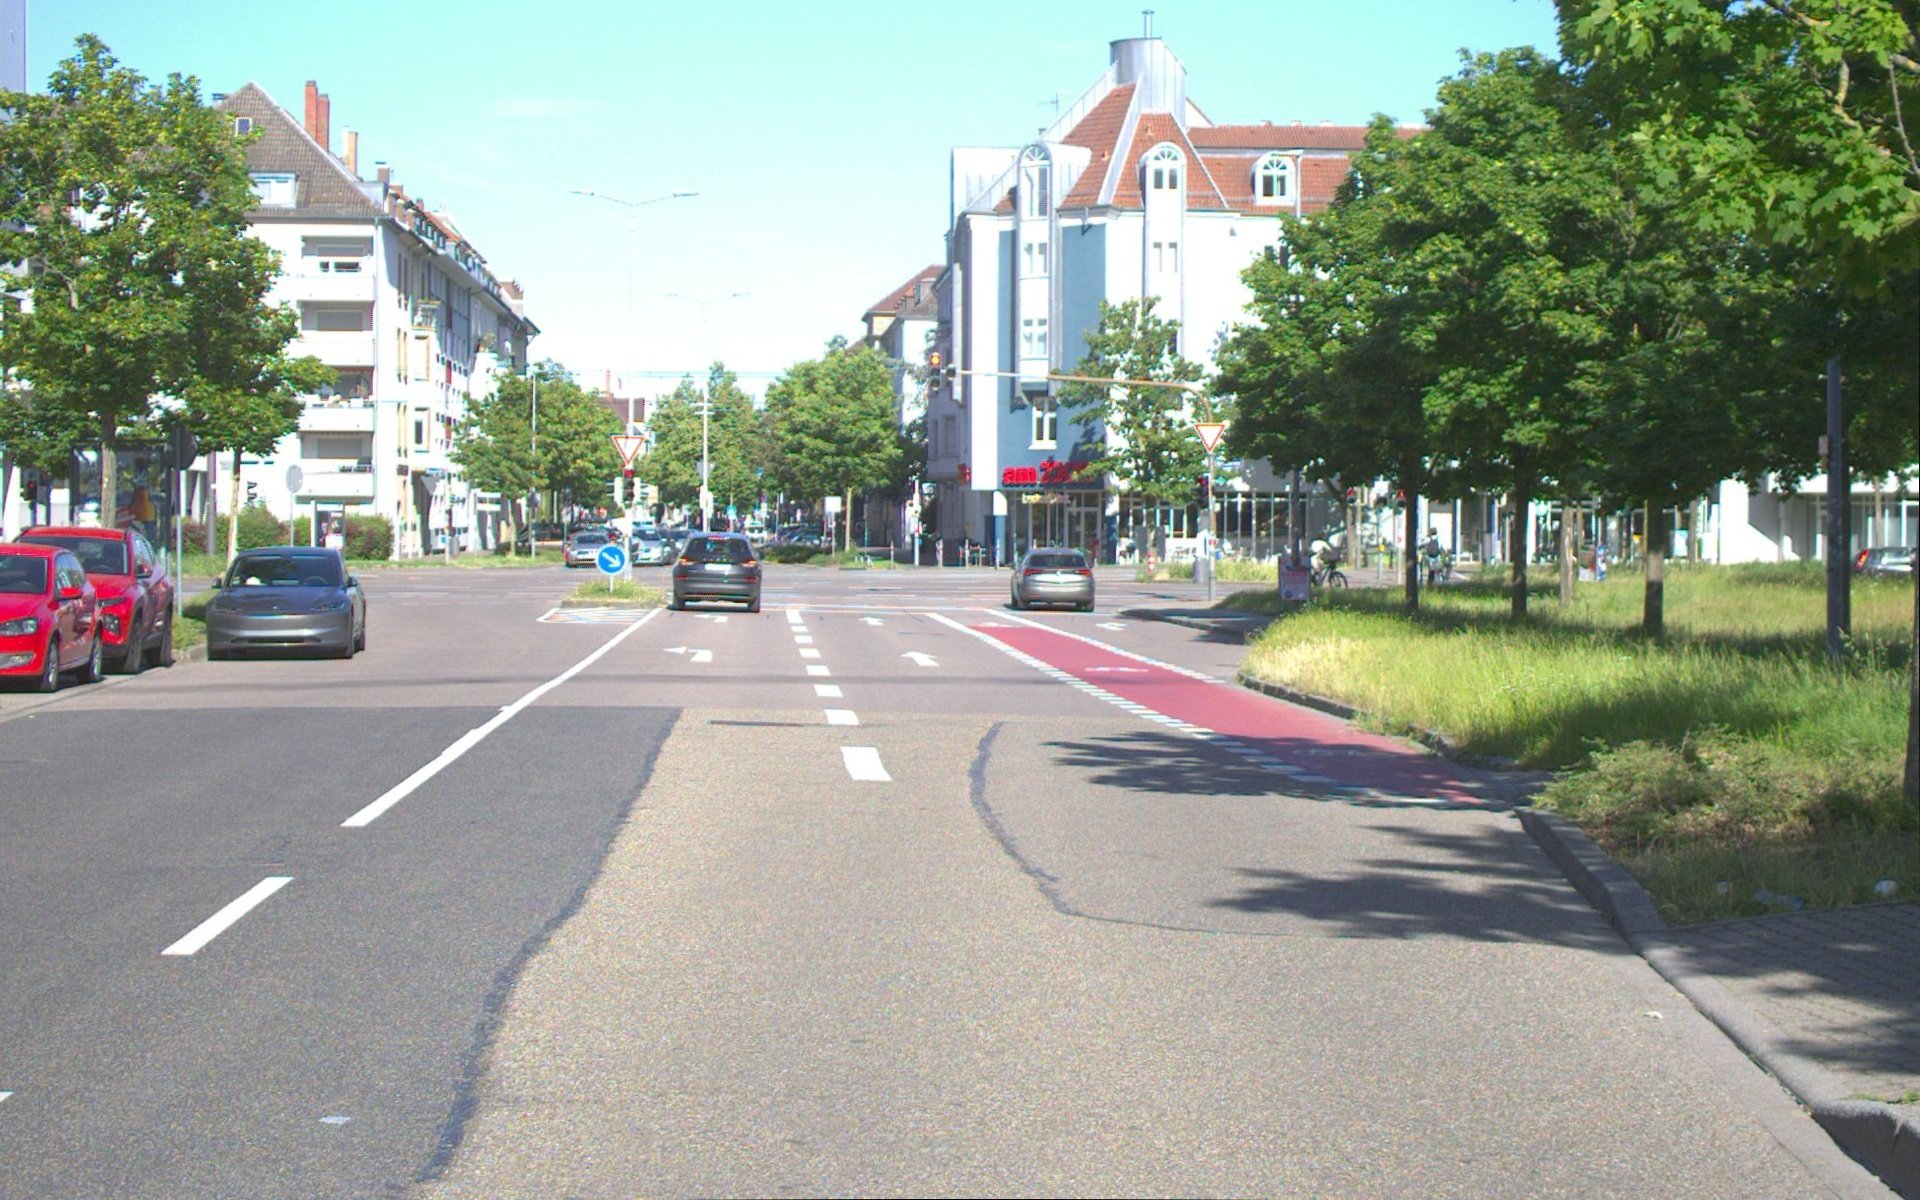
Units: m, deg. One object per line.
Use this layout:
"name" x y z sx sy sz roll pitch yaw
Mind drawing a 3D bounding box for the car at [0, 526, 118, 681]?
"car" -9.764 -0.019 34.798 1.688 1.427 3.872 3 1 -3

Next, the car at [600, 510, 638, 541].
"car" -18.351 -4.020 185.141 1.753 1.550 3.731 3 1 -2

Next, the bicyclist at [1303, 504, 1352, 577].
"bicyclist" 9.304 -1.512 86.940 0.792 1.818 1.133 1 2 34

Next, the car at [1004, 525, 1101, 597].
"car" 2.150 -0.935 80.783 1.688 1.572 3.872 2 1 -6

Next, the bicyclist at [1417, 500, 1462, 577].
"bicyclist" 12.297 -1.584 88.144 0.792 1.952 1.009 1 2 34

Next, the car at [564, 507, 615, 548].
"car" -15.169 -2.971 140.797 1.753 1.550 3.731 3 1 -2

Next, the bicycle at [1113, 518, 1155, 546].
"bicycle" 6.395 -2.500 126.599 1.511 1.023 0.473 0 2 7

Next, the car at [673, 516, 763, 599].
"car" -5.064 -0.919 72.180 1.753 1.622 4.479 2 1 -4

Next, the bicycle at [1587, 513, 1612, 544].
"bicycle" 24.709 -2.756 132.896 0.560 1.178 1.870 0 2 -2

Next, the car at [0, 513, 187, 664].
"car" -10.161 -0.179 40.046 1.688 1.601 4.312 2 1 -6

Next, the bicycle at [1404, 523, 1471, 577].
"bicycle" 12.242 -1.283 88.080 0.792 1.343 2.258 1 2 34

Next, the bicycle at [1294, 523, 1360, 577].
"bicycle" 9.287 -1.271 86.921 0.792 1.343 2.075 1 2 34

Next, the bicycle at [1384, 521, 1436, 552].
"bicycle" 17.198 -2.415 131.410 1.863 1.178 0.562 0 2 -8

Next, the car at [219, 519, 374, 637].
"car" -8.802 -0.337 45.888 1.688 1.463 4.548 -1 2 -7
